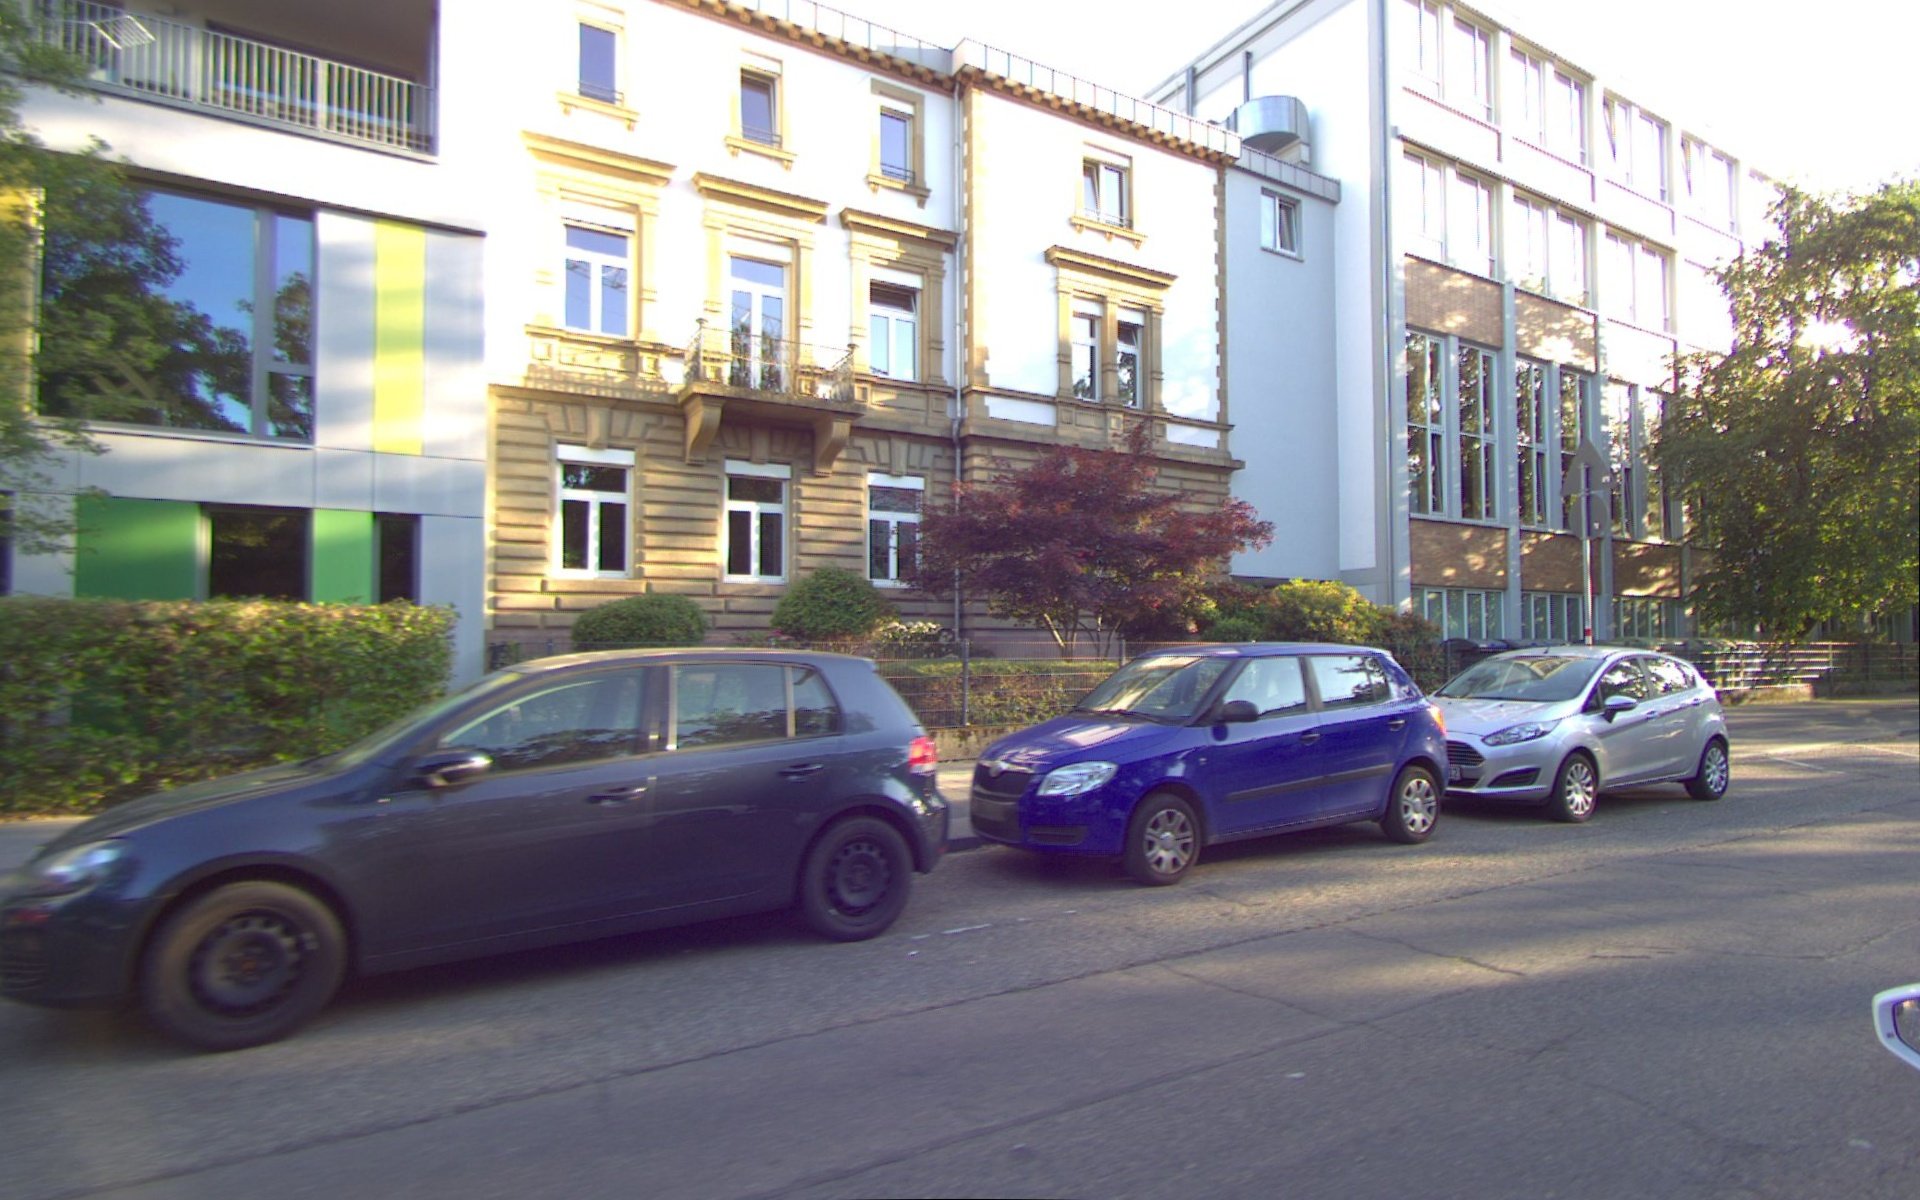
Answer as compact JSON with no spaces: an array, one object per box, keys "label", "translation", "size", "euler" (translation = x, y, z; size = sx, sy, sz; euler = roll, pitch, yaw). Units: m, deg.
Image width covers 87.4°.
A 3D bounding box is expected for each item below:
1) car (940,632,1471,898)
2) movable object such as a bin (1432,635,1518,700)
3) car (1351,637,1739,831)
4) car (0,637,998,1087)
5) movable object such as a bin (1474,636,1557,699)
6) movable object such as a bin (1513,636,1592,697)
[{"label":"car","translation":[1.876,1.040,7.490],"size":[3.740,1.527,1.592],"euler":[1,-4,-29]},{"label":"movable object such as a bin","translation":[11.877,1.534,23.175],"size":[1.499,1.449,1.095],"euler":[1,-2,-27]},{"label":"car","translation":[5.655,1.142,9.626],"size":[3.729,1.513,1.593],"euler":[1,-4,-31]},{"label":"car","translation":[-1.915,0.958,5.112],"size":[4.009,1.474,1.590],"euler":[1,-4,-32]},{"label":"movable object such as a bin","translation":[13.202,1.572,23.868],"size":[1.467,1.449,1.095],"euler":[1,-2,-27]},{"label":"movable object such as a bin","translation":[14.468,1.608,24.541],"size":[1.355,1.449,1.095],"euler":[1,-2,-27]}]
